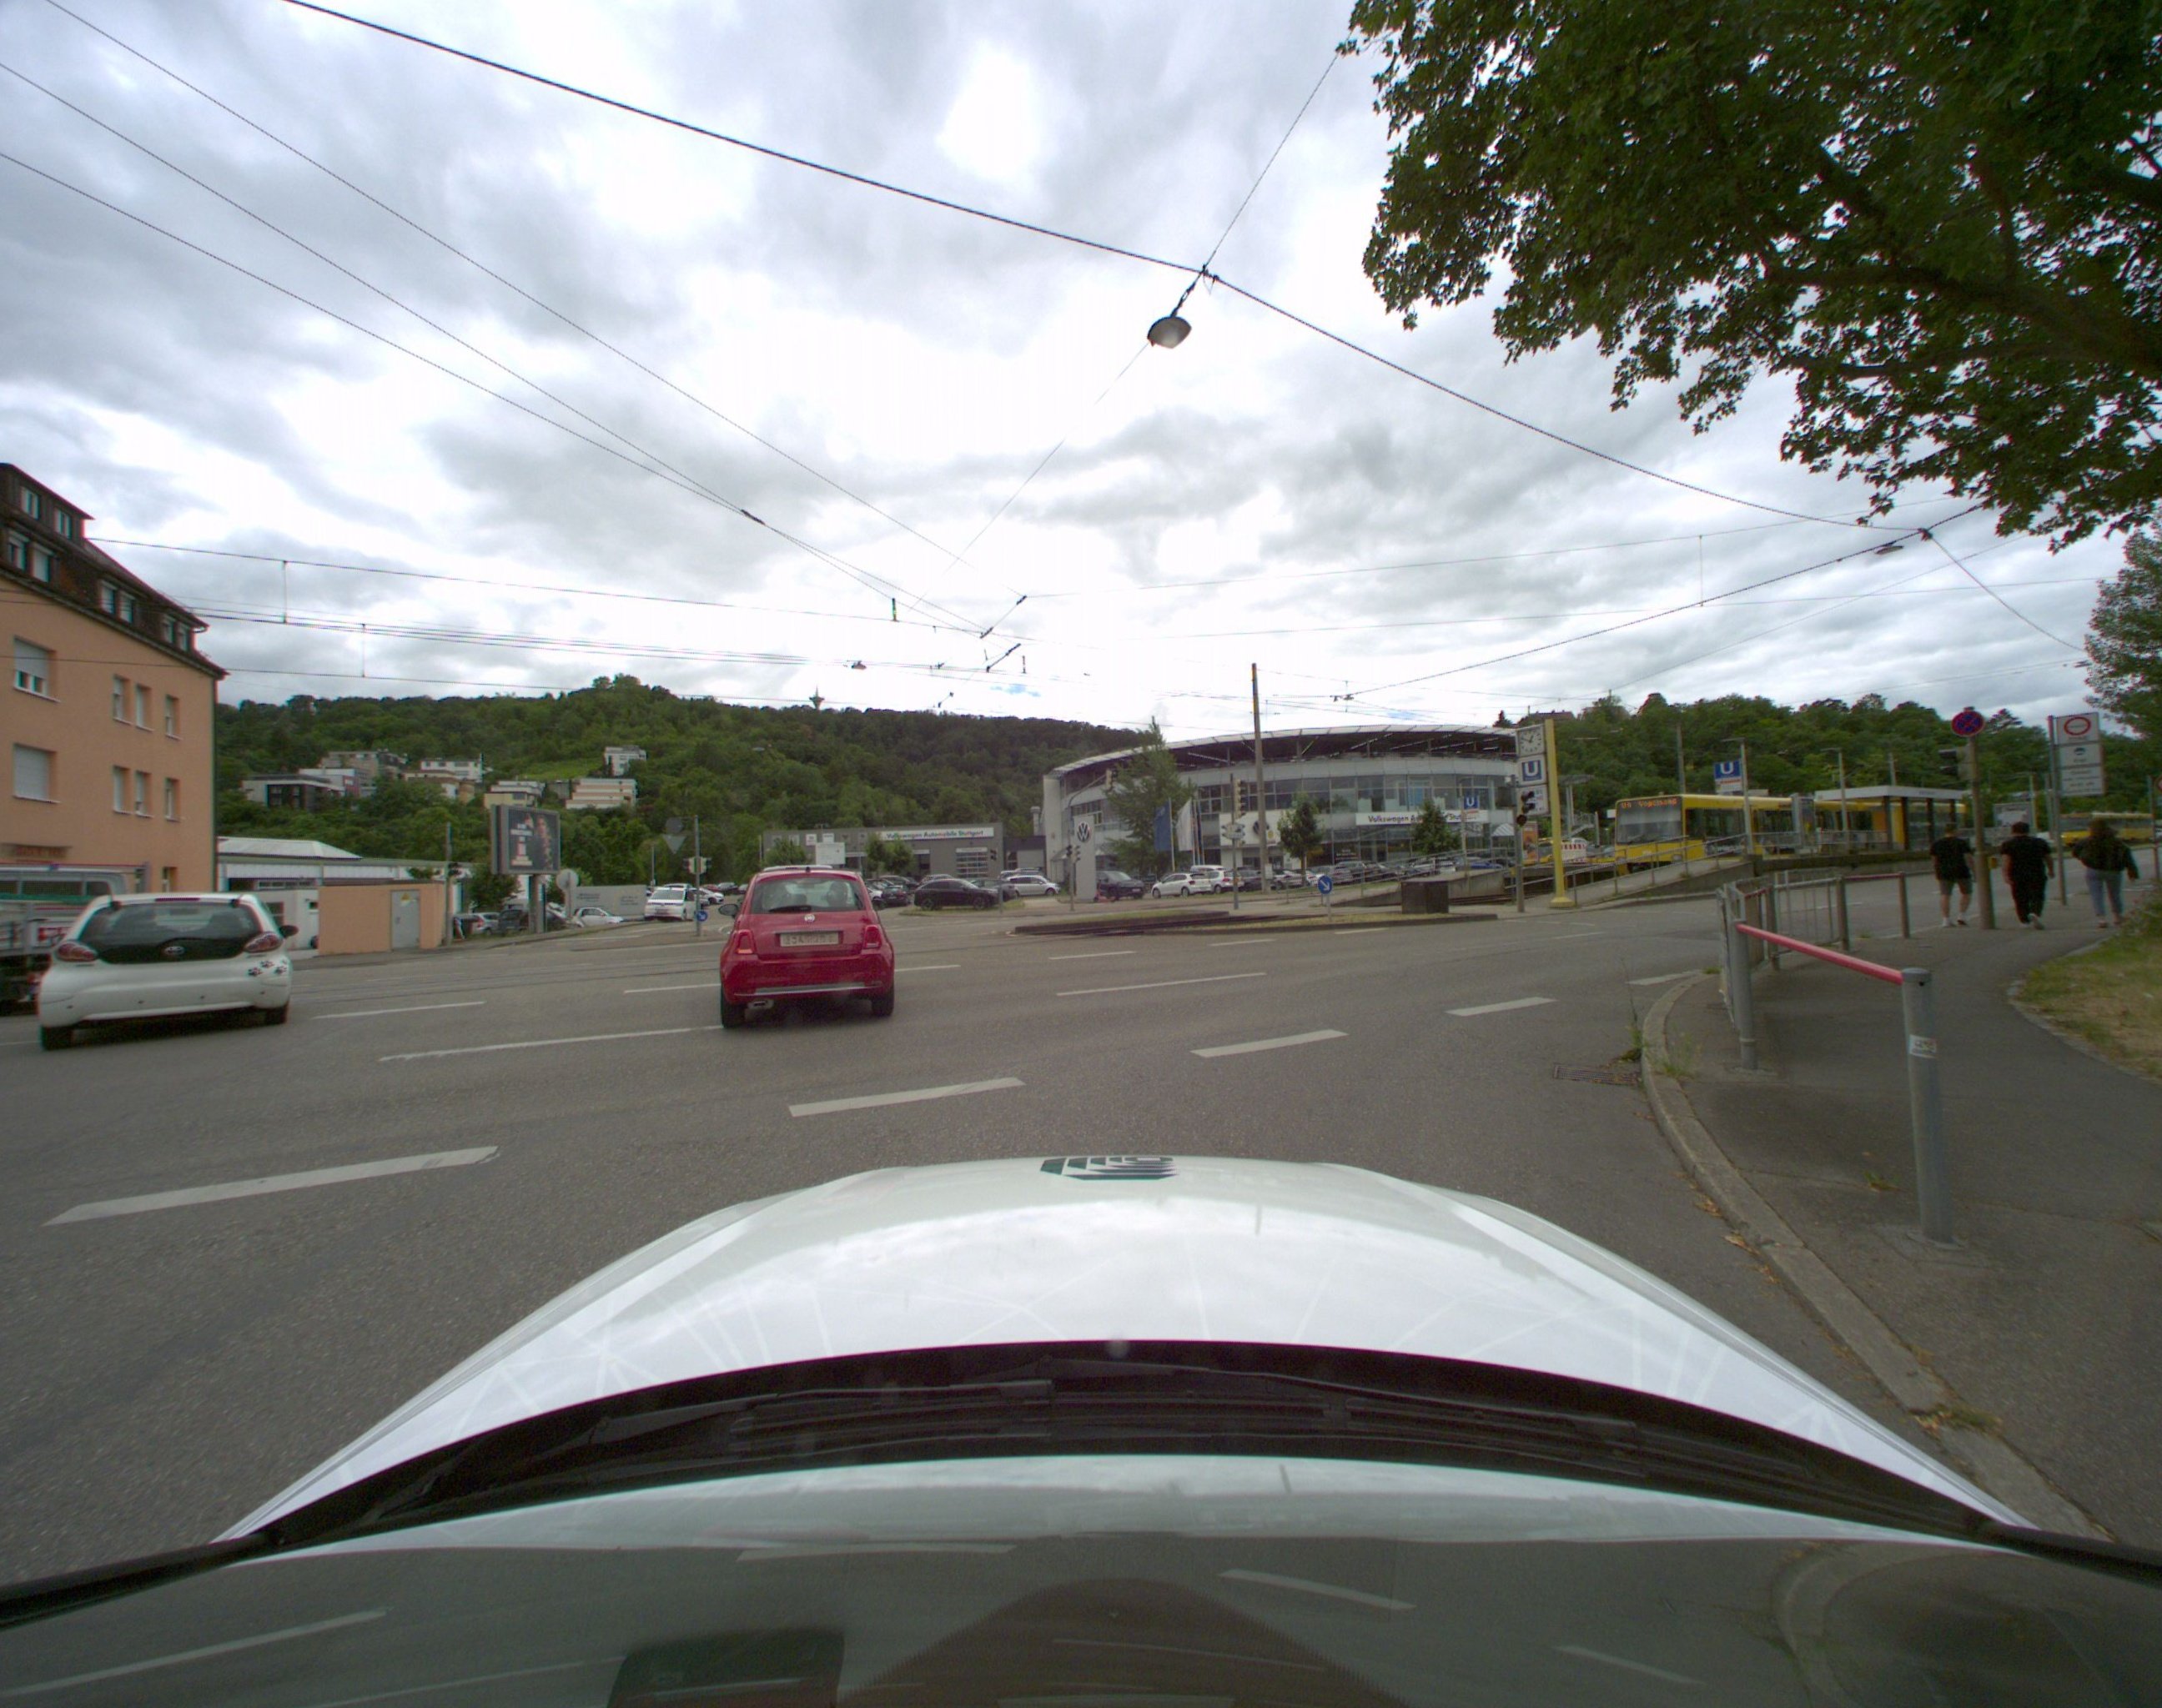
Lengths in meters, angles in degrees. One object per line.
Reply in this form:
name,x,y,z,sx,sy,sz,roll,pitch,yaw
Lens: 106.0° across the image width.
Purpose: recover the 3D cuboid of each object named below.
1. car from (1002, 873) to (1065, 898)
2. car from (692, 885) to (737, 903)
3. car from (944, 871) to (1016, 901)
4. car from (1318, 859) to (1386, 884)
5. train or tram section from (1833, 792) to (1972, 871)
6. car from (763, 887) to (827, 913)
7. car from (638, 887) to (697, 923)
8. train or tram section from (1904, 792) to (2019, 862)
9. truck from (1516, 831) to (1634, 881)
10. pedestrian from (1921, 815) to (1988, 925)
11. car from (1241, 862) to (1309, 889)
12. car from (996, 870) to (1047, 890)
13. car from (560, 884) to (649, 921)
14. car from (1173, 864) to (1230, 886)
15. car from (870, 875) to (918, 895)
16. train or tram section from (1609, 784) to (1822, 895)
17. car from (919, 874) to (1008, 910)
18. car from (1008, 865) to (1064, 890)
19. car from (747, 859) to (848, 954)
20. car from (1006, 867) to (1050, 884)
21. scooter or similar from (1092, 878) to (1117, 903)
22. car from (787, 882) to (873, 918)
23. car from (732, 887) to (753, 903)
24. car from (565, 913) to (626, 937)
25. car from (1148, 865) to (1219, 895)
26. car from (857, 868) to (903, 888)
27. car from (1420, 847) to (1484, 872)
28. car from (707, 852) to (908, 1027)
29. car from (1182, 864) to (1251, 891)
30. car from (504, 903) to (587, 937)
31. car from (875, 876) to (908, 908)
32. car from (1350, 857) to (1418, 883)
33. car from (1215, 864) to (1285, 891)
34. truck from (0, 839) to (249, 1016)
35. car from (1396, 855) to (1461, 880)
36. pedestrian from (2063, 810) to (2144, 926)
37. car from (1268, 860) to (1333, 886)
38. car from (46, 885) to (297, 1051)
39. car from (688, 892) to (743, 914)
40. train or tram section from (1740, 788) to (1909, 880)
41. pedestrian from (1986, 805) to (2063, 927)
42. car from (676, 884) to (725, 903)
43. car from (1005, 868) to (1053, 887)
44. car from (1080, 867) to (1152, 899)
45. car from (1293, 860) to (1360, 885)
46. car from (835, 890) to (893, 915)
car,-3.589,2.365,60.873,4.495,1.729,1.993,1,-4,-10
car,-43.274,4.740,96.165,4.503,1.998,1.989,2,-4,-15
car,-6.095,1.966,49.084,3.997,1.706,1.988,2,-4,-18
car,18.382,1.203,55.311,1.936,1.554,3.956,-2,-1,-35
train or tram section,46.535,-1.333,45.971,11.953,3.967,2.721,-2,-2,-32
car,-23.002,3.732,65.644,4.494,1.998,1.993,1,-4,-9
car,-22.732,2.823,44.973,2.082,1.854,4.876,2,-4,-18
train or tram section,56.632,-1.746,52.291,10.231,4.065,2.951,-2,-2,-32
truck,33.654,0.105,55.384,9.034,3.078,2.677,-1,-2,-30
pedestrian,15.228,0.290,14.205,0.673,1.868,0.598,3,-4,-30
car,12.235,1.380,51.567,1.935,1.554,3.956,3,-4,-35
car,-5.559,2.400,75.764,4.495,1.729,1.993,1,-4,-10
car,-29.956,3.082,51.262,4.531,2.244,1.977,3,-5,-38
car,9.222,1.641,62.299,1.938,1.554,3.950,4,-5,-44
car,-17.070,2.837,74.379,3.981,1.794,1.849,1,-4,-6
train or tram section,26.205,-0.657,33.303,11.953,3.967,2.721,-2,-2,-32
car,-5.794,1.844,40.416,3.968,1.640,2.003,0,1,5
car,-3.750,1.969,68.073,4.494,1.998,1.993,1,-4,-9
car,-7.095,1.264,20.093,2.007,2.041,4.793,1,-4,-23
car,-5.580,2.259,85.382,4.495,1.729,1.993,1,-4,-10
scooter or similar,1.233,1.914,42.500,1.201,1.288,0.573,2,-4,-13
car,-16.411,3.025,53.471,4.992,2.014,1.997,-3,-3,-4
car,-43.868,5.319,105.615,1.998,1.998,4.483,2,-4,-17
car,-28.759,4.209,48.326,2.814,1.338,1.524,2,-4,-23
car,5.958,1.575,47.820,2.008,1.640,3.956,3,-4,-35
car,-19.176,2.300,77.692,3.981,1.794,1.849,1,-4,-6
car,27.500,0.440,60.472,1.931,1.554,3.964,2,-4,-27
car,-3.126,0.837,9.332,1.703,1.525,3.973,2,-2,-20
car,8.095,1.470,48.970,1.822,1.477,3.956,3,-4,-35
car,-28.196,3.449,42.931,3.585,1.486,1.586,-1,-2,-36
car,-13.246,2.680,57.219,1.995,2.014,4.996,-3,-3,-12
car,20.811,1.102,56.022,1.936,1.554,3.956,-3,-1,-35
car,10.332,1.475,49.982,1.935,1.554,3.956,3,-4,-35
truck,-16.666,1.229,13.339,5.585,2.422,2.333,-4,-4,23
car,25.136,0.989,59.021,1.932,1.554,3.964,-2,-2,-27
pedestrian,15.459,0.225,12.320,0.673,1.690,0.598,3,-4,-30
car,14.271,1.255,53.113,1.736,1.554,3.956,3,-4,-35
car,-9.952,1.116,8.908,3.330,1.420,1.608,-4,-3,39
car,-34.581,4.648,77.193,4.512,1.998,1.985,2,-4,-22
train or tram section,36.399,-1.043,39.641,11.953,3.967,2.721,-2,-2,-32
pedestrian,14.936,0.194,12.898,0.674,1.868,0.598,0,-3,-30
car,-42.215,4.395,90.420,4.503,1.998,1.989,2,-4,-15
car,-5.140,2.312,80.220,4.495,1.729,1.993,1,-4,-10
car,1.891,1.642,45.313,2.008,1.640,3.956,0,-3,-35
car,16.266,1.267,54.117,1.935,1.554,3.956,3,-4,-35
car,-16.354,3.663,61.547,3.981,1.794,1.849,1,-4,-6
